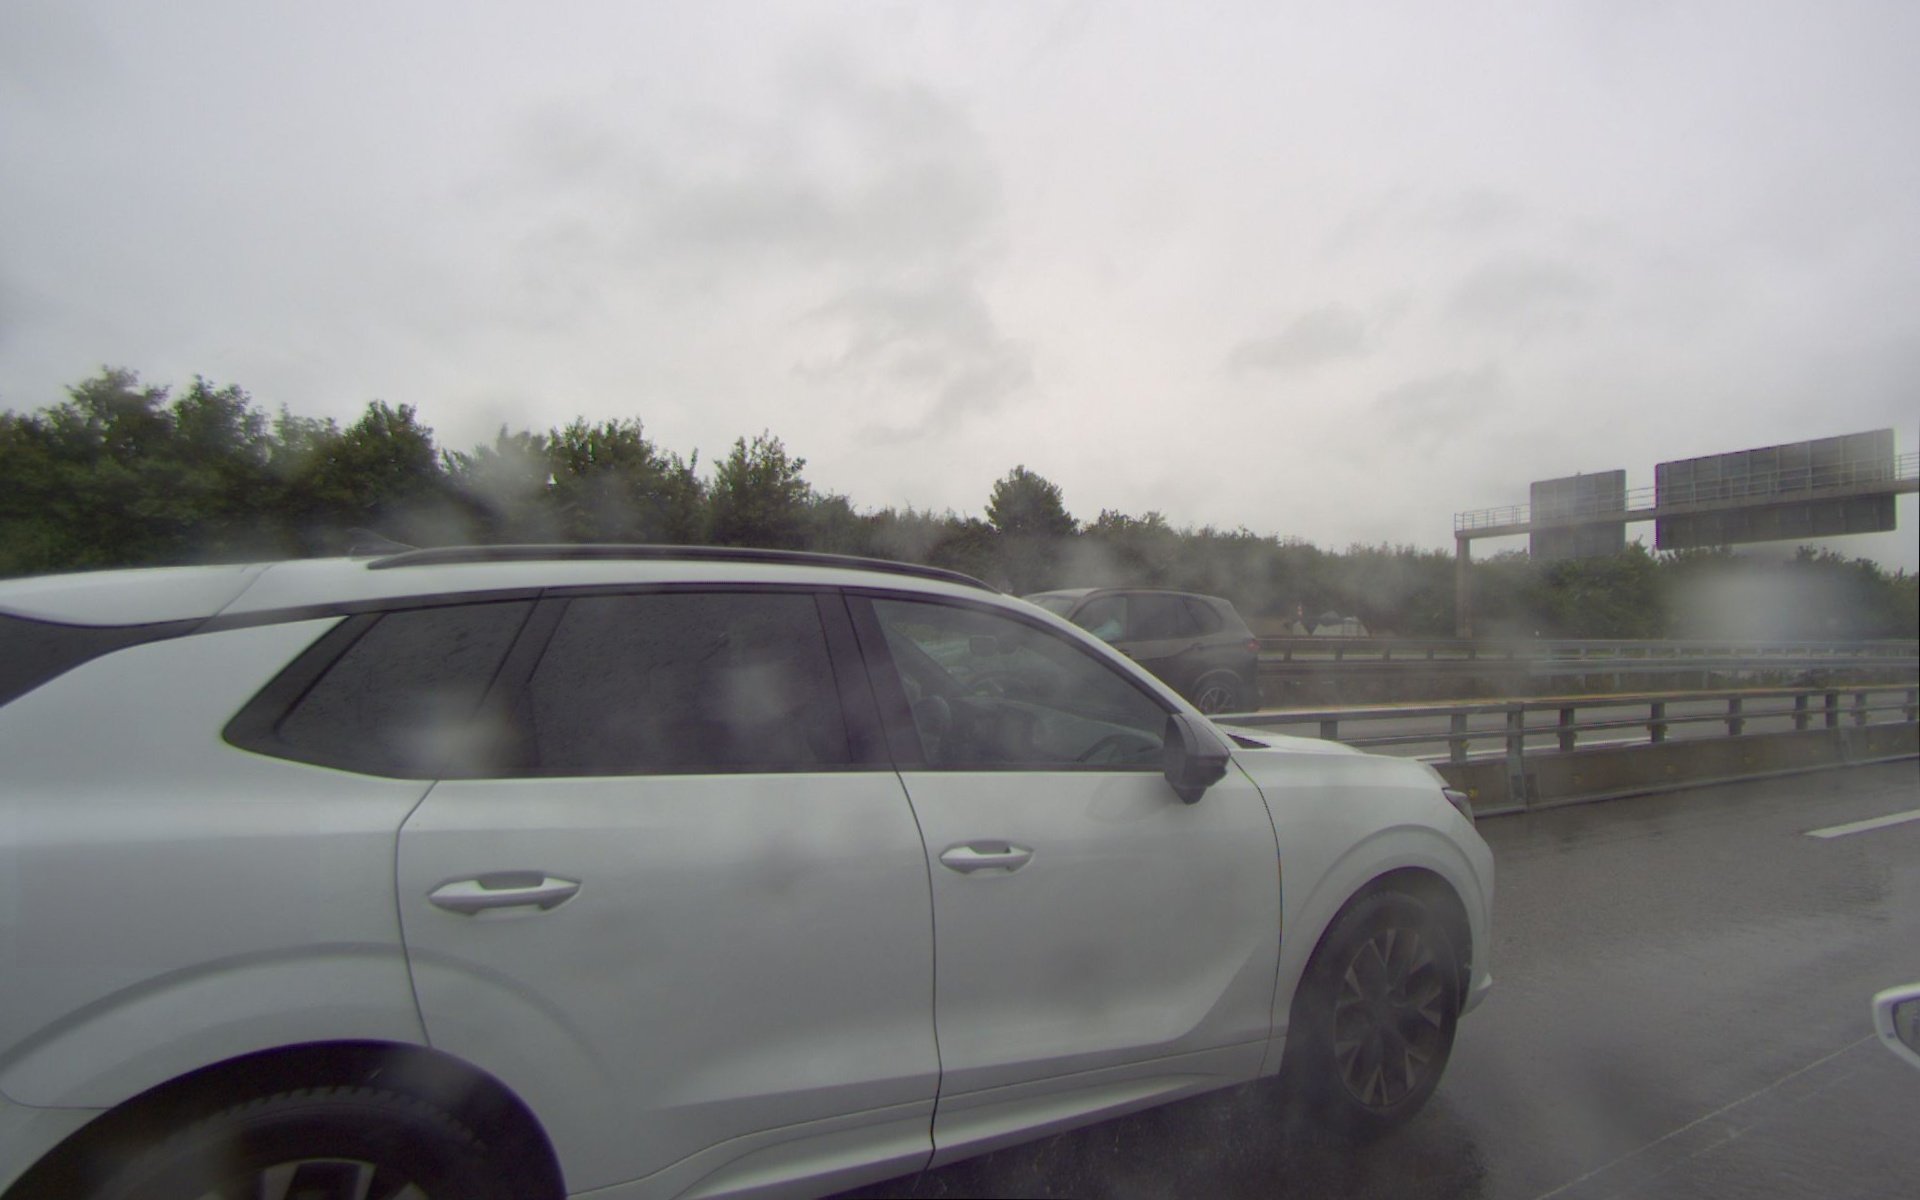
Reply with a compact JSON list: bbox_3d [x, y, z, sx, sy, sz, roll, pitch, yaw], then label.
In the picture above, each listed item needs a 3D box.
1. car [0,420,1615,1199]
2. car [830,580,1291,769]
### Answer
[{"bbox_3d":[-0.473,0.616,2.898,4.738,1.639,1.985,2,0,-29],"label":"car"},{"bbox_3d":[1.247,0.746,11.403,5.044,1.740,1.941,2,0,-31],"label":"car"}]
